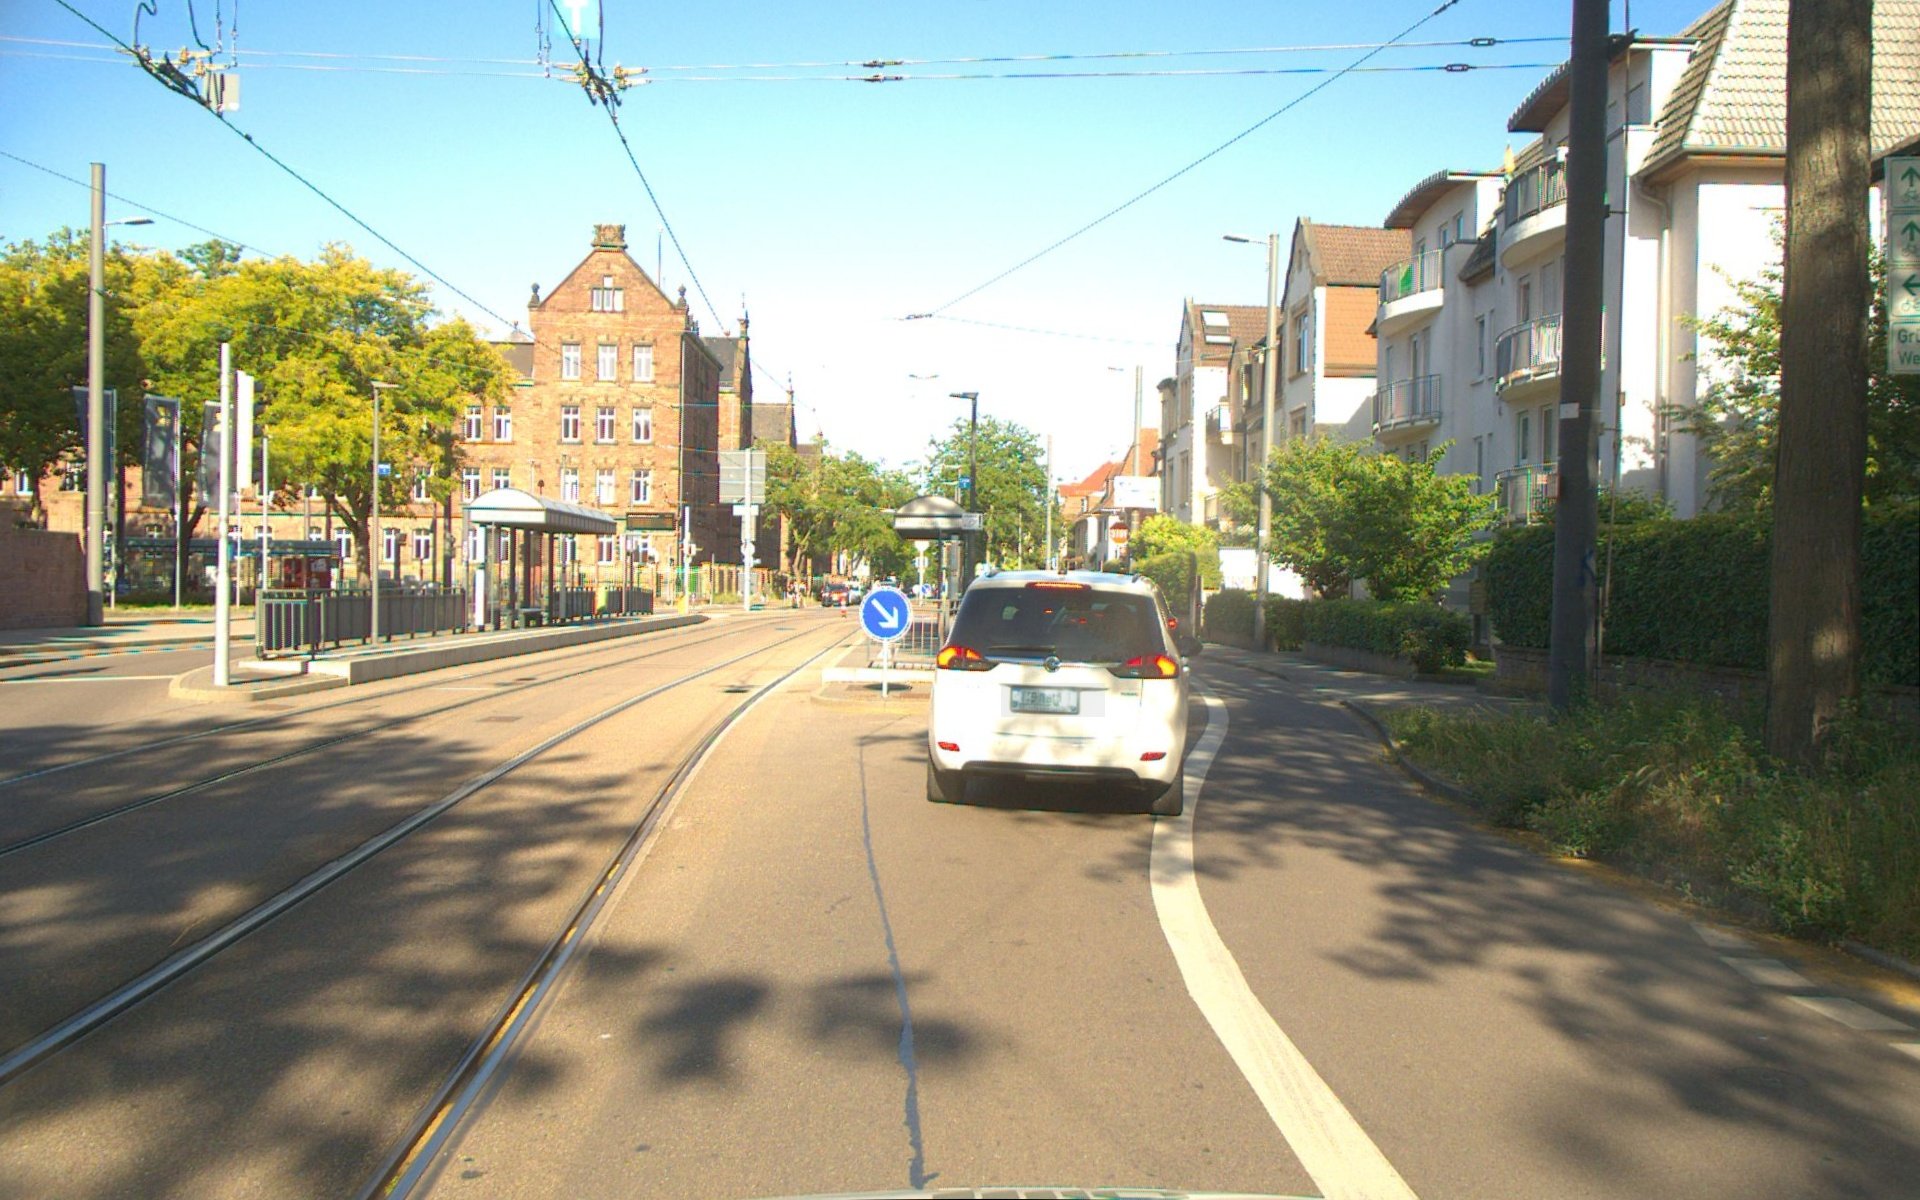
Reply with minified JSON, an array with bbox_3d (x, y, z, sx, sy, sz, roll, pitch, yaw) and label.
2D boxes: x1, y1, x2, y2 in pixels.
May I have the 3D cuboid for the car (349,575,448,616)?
[{"bbox_3d":[-25.731,-0.207,75.945,3.909,1.821,1.998,1,0,-5],"label":"car"}]

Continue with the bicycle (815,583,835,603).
[{"bbox_3d":[-9.036,-0.465,110.815,1.125,1.319,2.860,1,0,-2],"label":"bicycle"}]

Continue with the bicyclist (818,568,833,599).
[{"bbox_3d":[-8.999,-1.095,110.809,0.931,2.049,0.823,1,0,-4],"label":"bicyclist"}]

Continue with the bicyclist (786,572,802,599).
[{"bbox_3d":[-10.880,-0.960,108.267,0.924,1.765,0.861,1,0,-1],"label":"bicyclist"}]

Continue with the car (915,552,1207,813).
[{"bbox_3d":[0.908,0.574,12.687,1.852,1.639,4.231,1,-1,7],"label":"car"}]

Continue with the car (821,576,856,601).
[{"bbox_3d":[-8.721,-0.846,119.050,1.951,1.752,4.002,1,0,4],"label":"car"}]

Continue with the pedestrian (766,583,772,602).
[{"bbox_3d":[-14.449,-0.547,125.087,0.354,1.463,0.549,1,0,1],"label":"pedestrian"}]

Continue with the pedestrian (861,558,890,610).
[{"bbox_3d":[-3.386,-0.661,66.242,1.132,2.048,1.119,-1,1,-4],"label":"pedestrian"}]

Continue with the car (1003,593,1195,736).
[{"bbox_3d":[1.734,0.665,19.333,1.951,1.467,4.003,0,0,9],"label":"car"}]

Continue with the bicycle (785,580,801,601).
[{"bbox_3d":[-10.891,-0.626,107.980,0.805,1.319,2.677,1,0,-2],"label":"bicycle"}]

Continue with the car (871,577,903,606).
[{"bbox_3d":[-4.929,-0.551,112.466,1.952,1.947,4.000,1,0,0],"label":"car"}]

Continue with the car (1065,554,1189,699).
[{"bbox_3d":[2.635,0.363,25.453,1.672,2.049,3.910,0,0,9],"label":"car"}]
